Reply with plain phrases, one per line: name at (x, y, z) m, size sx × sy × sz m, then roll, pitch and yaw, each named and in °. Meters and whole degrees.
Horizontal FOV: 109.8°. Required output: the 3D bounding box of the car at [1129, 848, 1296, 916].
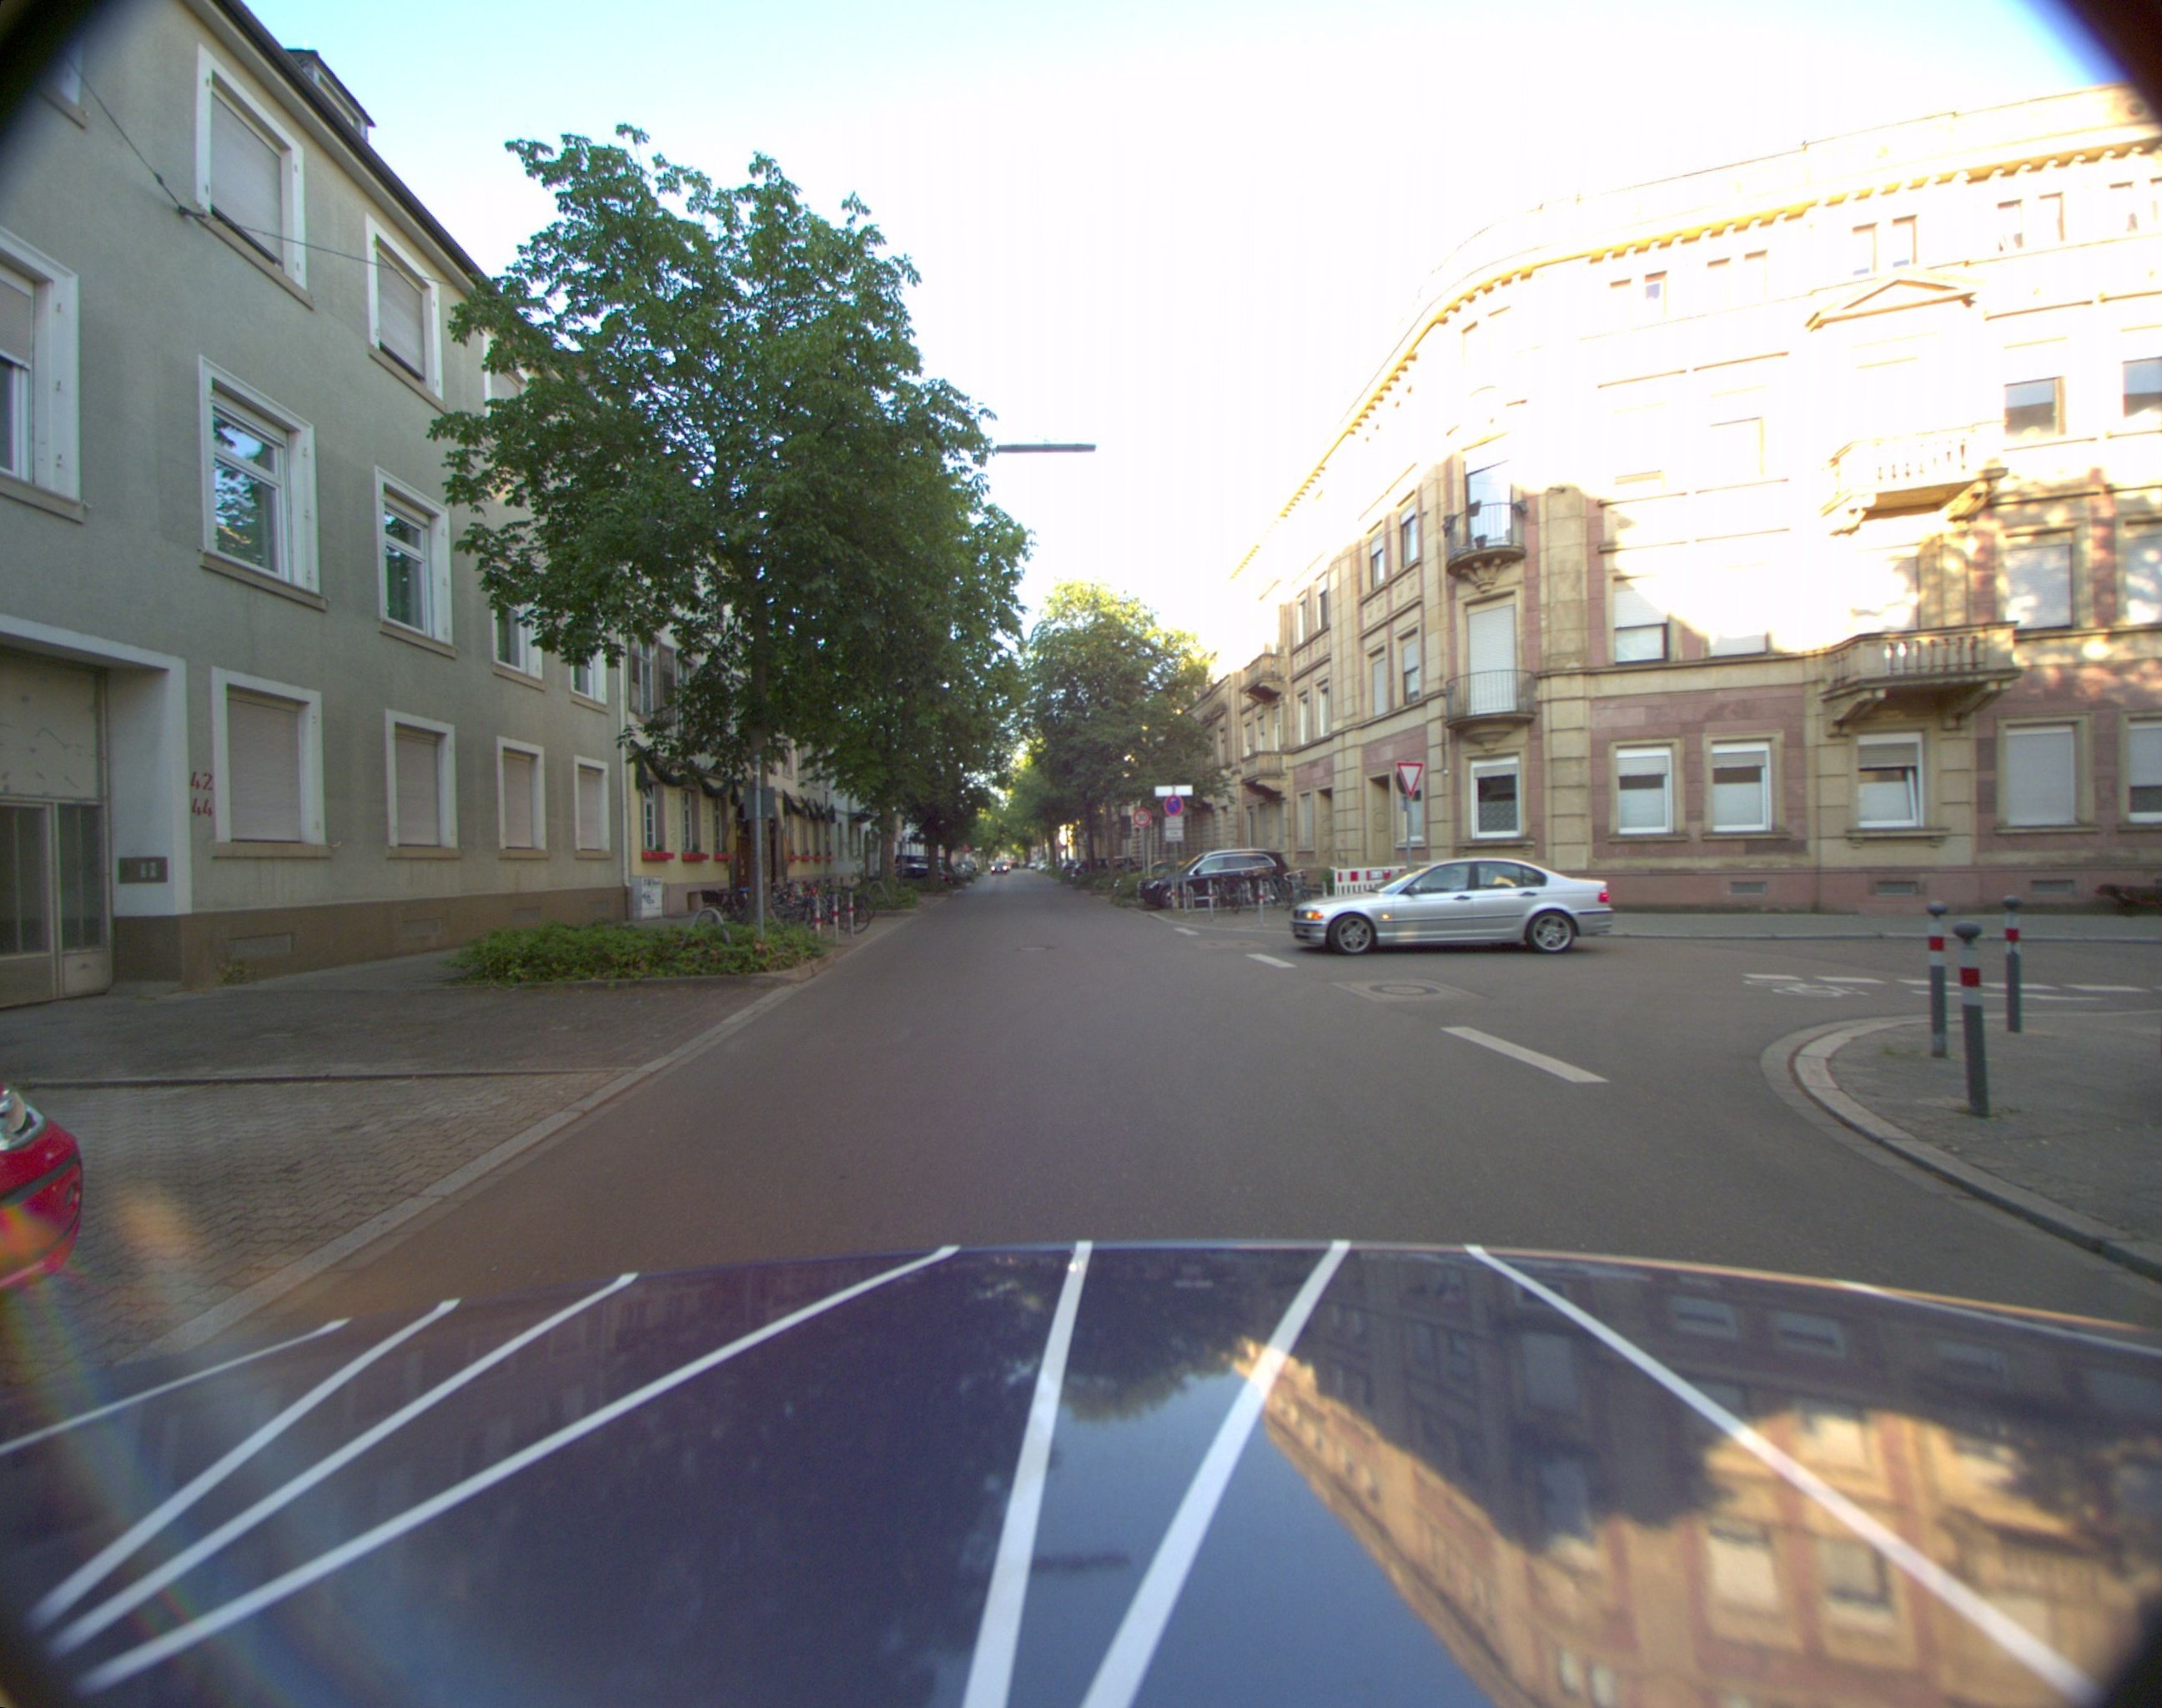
car at (3.890, 0.783, 22.844) m, size 4.590 × 1.728 × 1.775 m, roll -3°, pitch 1°, yaw -4°

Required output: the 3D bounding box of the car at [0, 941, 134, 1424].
car at (-5.144, 1.056, 1.725) m, size 3.667 × 1.467 × 1.565 m, roll 0°, pitch 0°, yaw -7°

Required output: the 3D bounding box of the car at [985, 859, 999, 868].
car at (-13.190, 1.373, 112.619) m, size 1.828 × 1.364 × 3.998 m, roll -1°, pitch 0°, yaw -5°

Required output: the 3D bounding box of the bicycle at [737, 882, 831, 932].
bicycle at (-7.121, 1.264, 18.293) m, size 2.042 × 1.139 × 0.421 m, roll -1°, pitch 0°, yaw -6°

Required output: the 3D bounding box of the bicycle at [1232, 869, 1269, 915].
bicycle at (4.438, 0.972, 20.013) m, size 0.364 × 1.083 × 1.869 m, roll -3°, pitch 1°, yaw -5°

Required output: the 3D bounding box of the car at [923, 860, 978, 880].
car at (-11.142, 1.324, 65.145) m, size 4.444 × 1.603 × 1.776 m, roll -1°, pitch 0°, yaw -4°

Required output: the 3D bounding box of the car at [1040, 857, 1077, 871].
car at (-2.762, 1.196, 91.898) m, size 4.444 × 1.638 × 1.776 m, roll -1°, pitch 0°, yaw -4°

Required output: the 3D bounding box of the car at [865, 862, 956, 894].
car at (-8.880, 1.236, 39.845) m, size 4.444 × 1.496 × 1.776 m, roll -1°, pitch 0°, yaw -4°

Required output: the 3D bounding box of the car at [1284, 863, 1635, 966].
car at (5.463, 0.873, 11.533) m, size 4.464 × 1.395 × 1.684 m, roll -1°, pitch -1°, yaw 10°

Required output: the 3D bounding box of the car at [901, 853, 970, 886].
car at (-9.955, 1.049, 52.319) m, size 4.444 × 2.110 × 1.776 m, roll -1°, pitch 0°, yaw -4°

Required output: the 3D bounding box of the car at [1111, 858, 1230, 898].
car at (3.528, 0.942, 30.435) m, size 4.444 × 1.478 × 1.776 m, roll -1°, pitch 0°, yaw -4°

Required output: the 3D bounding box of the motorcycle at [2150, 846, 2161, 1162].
motorcycle at (6.388, 0.718, 3.908) m, size 2.165 × 1.546 × 0.668 m, roll -1°, pitch 0°, yaw -26°

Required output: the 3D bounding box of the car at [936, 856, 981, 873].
car at (-12.581, 1.068, 78.124) m, size 4.444 × 1.603 × 1.776 m, roll -1°, pitch 0°, yaw -4°

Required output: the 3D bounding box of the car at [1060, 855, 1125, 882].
car at (0.793, 1.019, 53.660) m, size 4.444 × 1.728 × 1.776 m, roll -1°, pitch 0°, yaw -4°

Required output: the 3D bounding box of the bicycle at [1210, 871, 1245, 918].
bicycle at (3.814, 1.027, 19.933) m, size 0.364 × 1.083 × 1.869 m, roll -3°, pitch 1°, yaw -5°

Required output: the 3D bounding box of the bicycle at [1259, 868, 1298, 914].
bicycle at (5.188, 0.938, 20.025) m, size 0.364 × 1.083 × 1.869 m, roll -3°, pitch 1°, yaw -5°

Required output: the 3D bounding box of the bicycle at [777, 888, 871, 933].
bicycle at (-6.051, 1.327, 17.949) m, size 2.042 × 0.998 × 0.421 m, roll -1°, pitch 0°, yaw -6°

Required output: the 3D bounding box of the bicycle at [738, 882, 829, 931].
bicycle at (-7.404, 1.302, 18.947) m, size 2.042 × 1.139 × 0.421 m, roll -1°, pitch 0°, yaw -6°

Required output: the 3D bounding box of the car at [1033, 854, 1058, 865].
car at (-5.971, 0.876, 127.814) m, size 4.001 × 1.753 × 1.998 m, roll -1°, pitch 0°, yaw -12°

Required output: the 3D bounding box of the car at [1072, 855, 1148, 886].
car at (1.763, 0.999, 46.696) m, size 4.444 × 1.728 × 1.776 m, roll -1°, pitch 0°, yaw -4°

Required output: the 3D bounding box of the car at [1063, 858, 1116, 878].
car at (0.648, 1.106, 59.292) m, size 4.032 × 1.474 × 1.776 m, roll -1°, pitch 0°, yaw -4°

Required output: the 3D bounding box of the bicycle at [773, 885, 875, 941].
bicycle at (-5.609, 1.276, 16.634) m, size 2.041 × 1.139 × 0.446 m, roll -1°, pitch 0°, yaw -5°

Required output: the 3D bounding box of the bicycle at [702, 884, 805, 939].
bicycle at (-7.292, 1.279, 16.966) m, size 2.042 × 1.139 × 0.421 m, roll -1°, pitch 0°, yaw -6°

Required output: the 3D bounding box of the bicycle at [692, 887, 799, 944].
bicycle at (-7.067, 1.288, 16.048) m, size 2.041 × 1.139 × 0.446 m, roll -1°, pitch 0°, yaw -2°

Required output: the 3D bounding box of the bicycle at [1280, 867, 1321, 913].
bicycle at (5.780, 0.922, 20.086) m, size 0.364 × 1.083 × 1.869 m, roll -3°, pitch 1°, yaw -5°

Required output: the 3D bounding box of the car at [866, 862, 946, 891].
car at (-10.385, 1.312, 45.328) m, size 4.444 × 1.603 × 1.776 m, roll -1°, pitch 0°, yaw -4°

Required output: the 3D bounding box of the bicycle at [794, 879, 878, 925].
bicycle at (-6.464, 1.271, 20.100) m, size 2.042 × 1.139 × 0.421 m, roll -1°, pitch 0°, yaw -6°
